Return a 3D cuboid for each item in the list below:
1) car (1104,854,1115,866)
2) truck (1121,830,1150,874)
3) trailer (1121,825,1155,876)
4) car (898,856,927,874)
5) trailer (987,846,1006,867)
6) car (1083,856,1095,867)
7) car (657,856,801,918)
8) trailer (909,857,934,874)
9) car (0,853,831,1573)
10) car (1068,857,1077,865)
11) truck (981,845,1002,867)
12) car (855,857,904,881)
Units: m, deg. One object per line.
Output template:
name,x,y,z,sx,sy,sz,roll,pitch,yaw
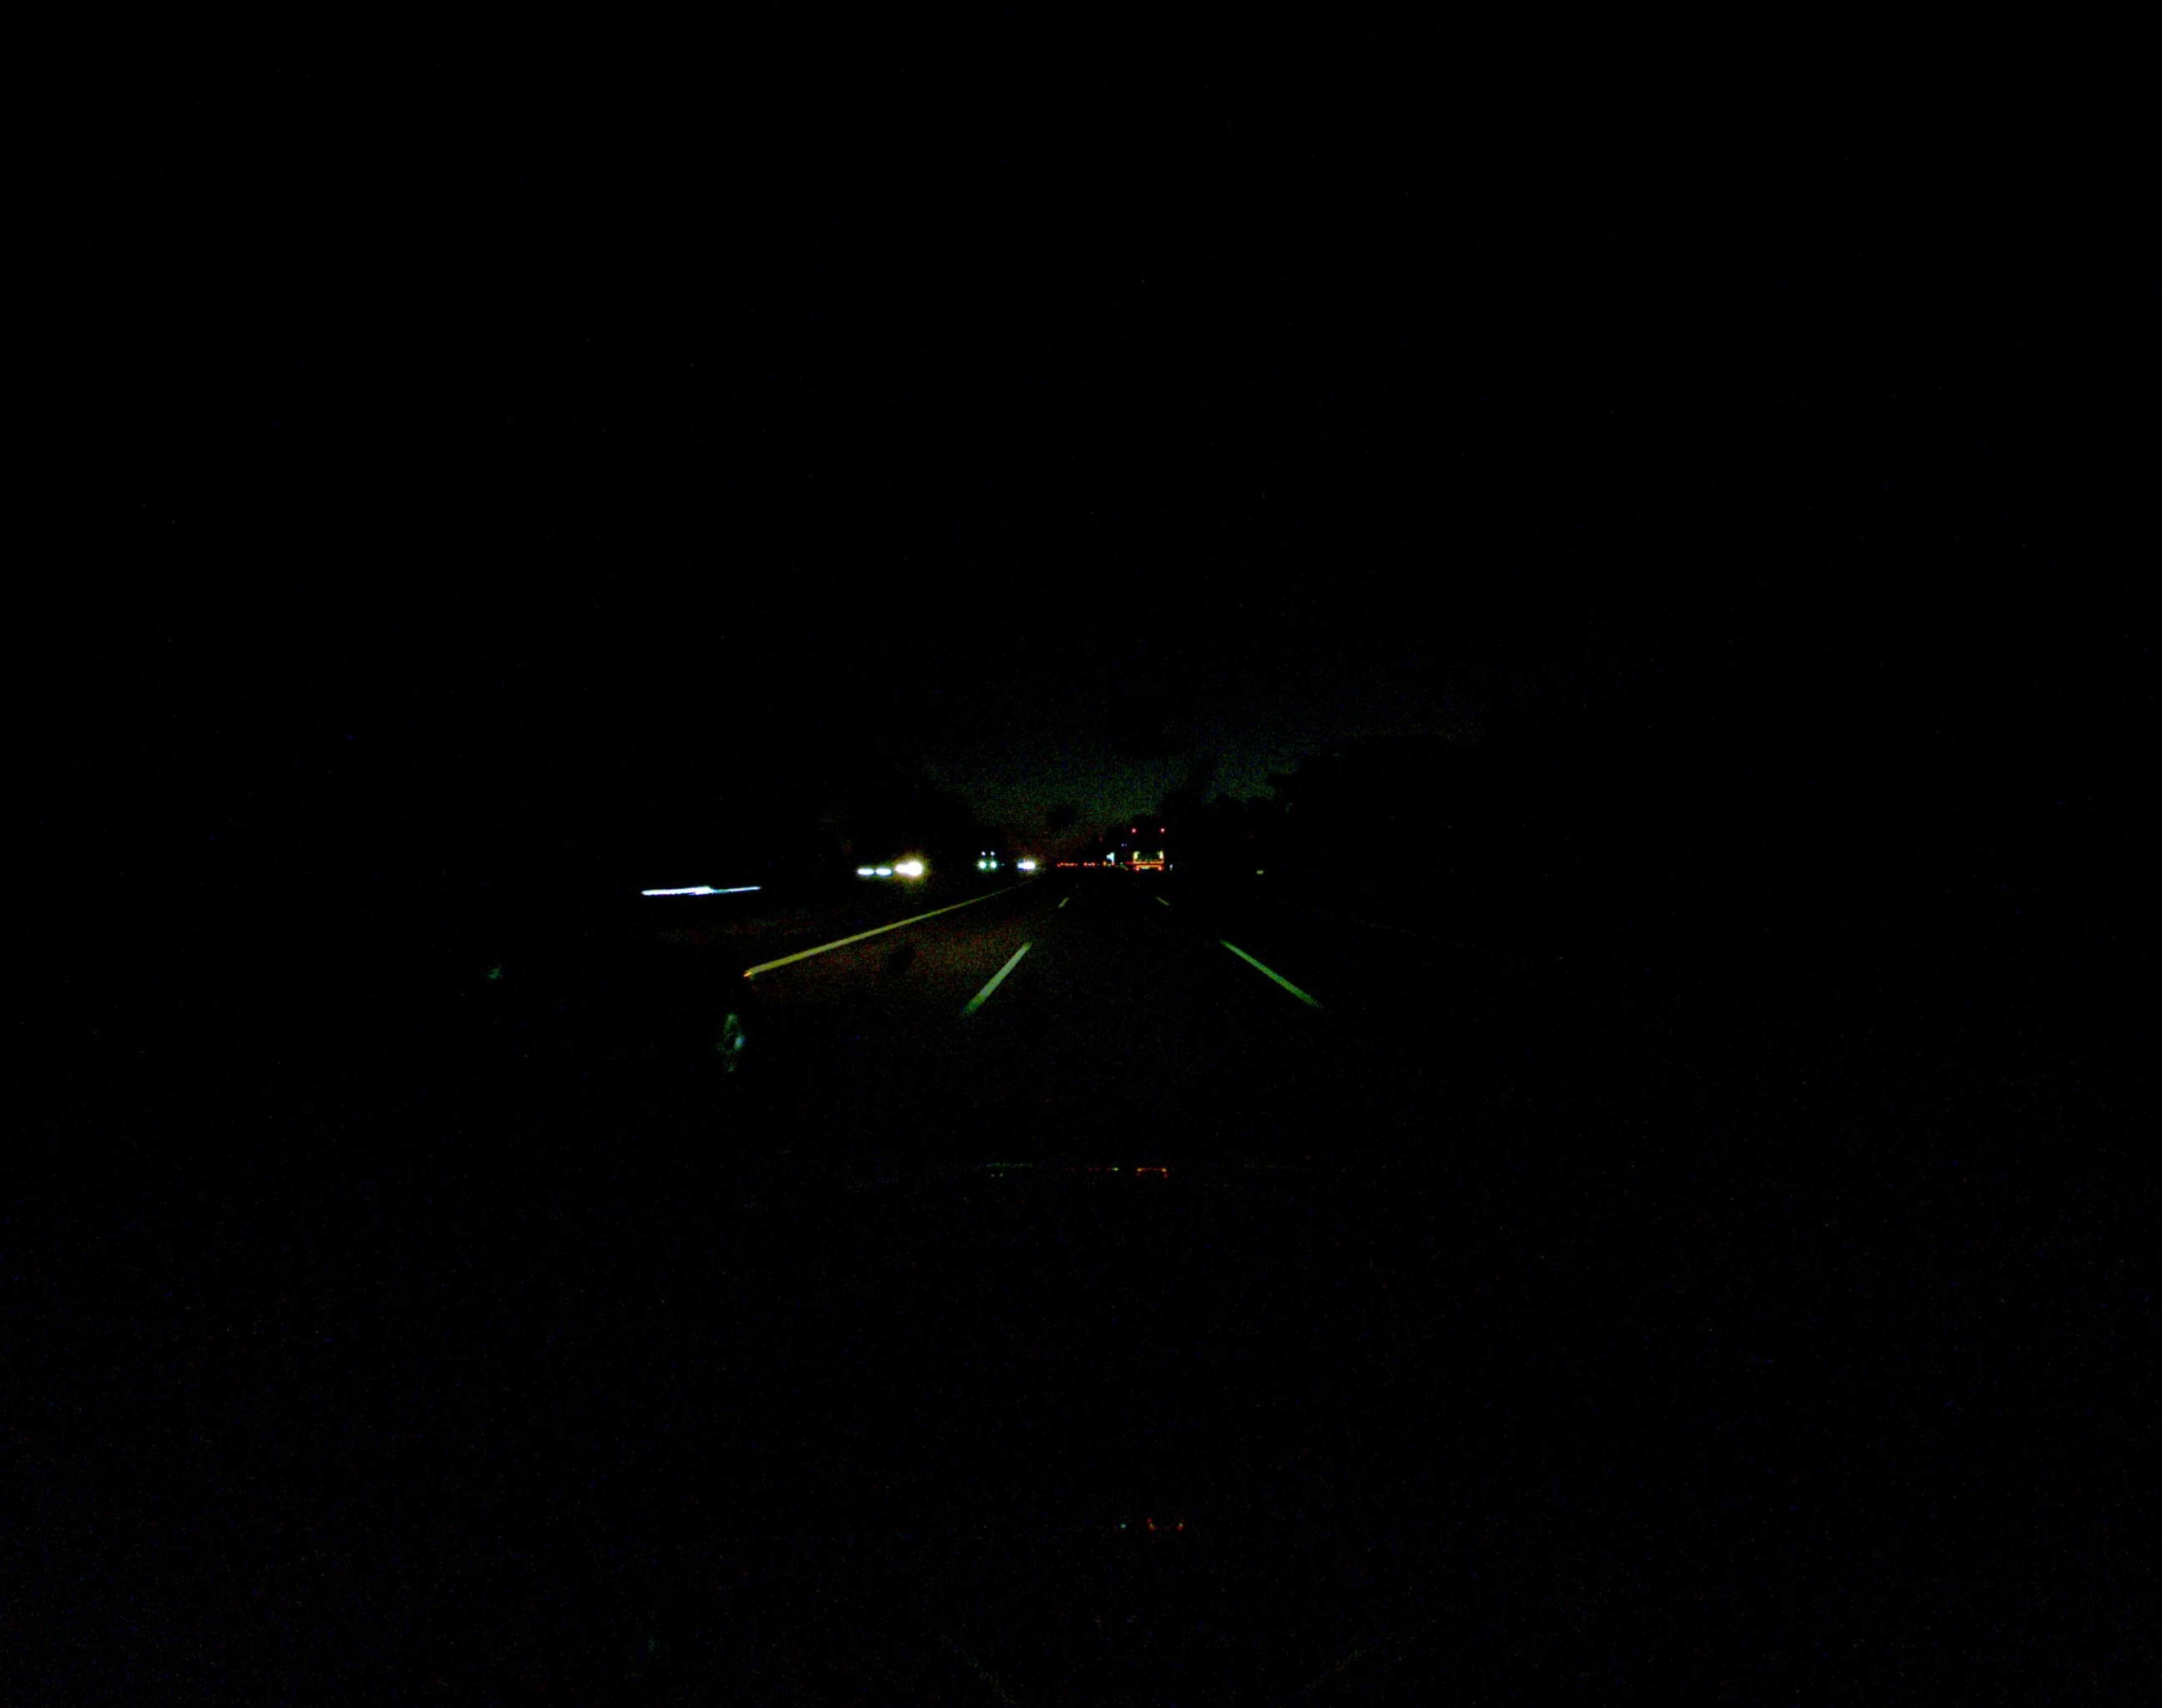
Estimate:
car,5.326,1.136,154.338,1.987,2.117,3.998,0,-2,0
truck,5.437,-0.179,81.993,2.818,4.257,6.267,-1,-1,3
trailer,5.183,-0.226,76.625,2.818,4.256,17.060,-1,-1,3
car,-17.273,1.127,83.673,1.907,1.747,4.882,-1,0,1
trailer,-17.429,0.539,168.374,2.851,4.071,8.869,0,-1,0
car,1.446,1.304,145.600,1.986,1.794,4.000,0,-2,1
car,-10.733,0.947,25.312,2.236,1.719,4.889,0,0,1
trailer,-17.175,1.254,88.033,1.890,1.747,3.845,-1,0,1
car,-3.270,0.801,4.136,1.985,1.518,5.655,0,1,3
car,-2.036,1.613,186.133,1.987,1.794,3.998,0,-2,0
truck,-17.412,0.461,158.603,2.851,4.071,10.632,0,-1,0
car,-14.230,1.012,57.842,2.237,1.598,4.886,0,0,0
